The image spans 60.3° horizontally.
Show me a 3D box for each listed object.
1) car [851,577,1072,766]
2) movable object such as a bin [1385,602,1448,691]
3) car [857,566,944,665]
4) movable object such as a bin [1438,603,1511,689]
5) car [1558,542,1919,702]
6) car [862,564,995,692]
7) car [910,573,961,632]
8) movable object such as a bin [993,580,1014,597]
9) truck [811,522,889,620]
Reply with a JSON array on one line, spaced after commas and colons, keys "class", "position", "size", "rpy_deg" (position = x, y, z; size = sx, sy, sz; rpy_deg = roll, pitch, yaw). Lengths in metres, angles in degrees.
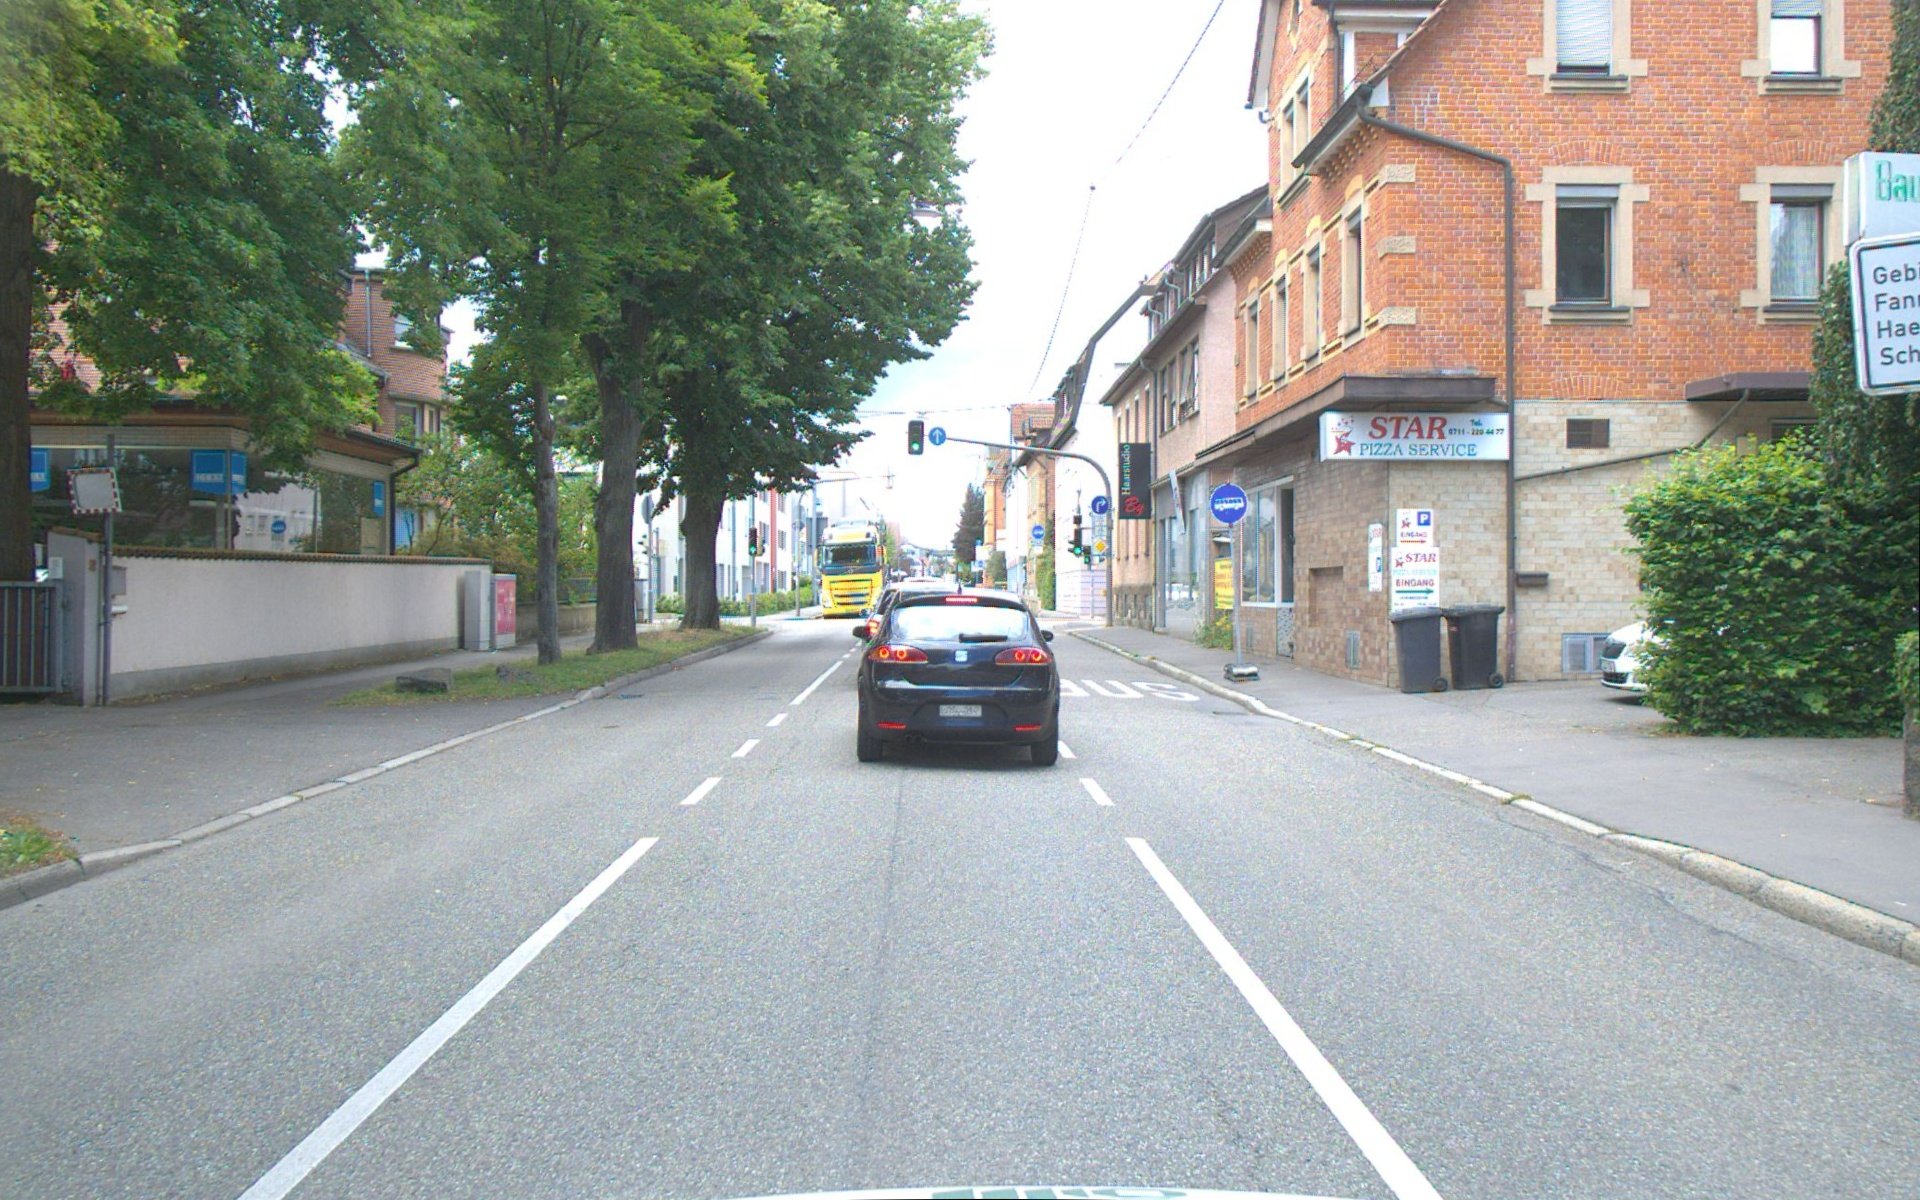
[{"class": "car", "position": [-0.027, 0.563, 15.068], "size": [1.723, 1.467, 3.999], "rpy_deg": [1, 0, -1]}, {"class": "movable object such as a bin", "position": [5.894, 0.592, 21.383], "size": [0.594, 1.120, 0.622], "rpy_deg": [-2, 0, -1]}, {"class": "car", "position": [-1.095, 0.273, 31.029], "size": [1.500, 1.722, 3.692], "rpy_deg": [1, 0, -1]}, {"class": "movable object such as a bin", "position": [6.651, 0.586, 21.418], "size": [0.684, 1.077, 0.723], "rpy_deg": [-2, 0, -1]}, {"class": "car", "position": [9.165, 0.221, 18.972], "size": [3.949, 1.495, 1.600], "rpy_deg": [-4, 0, -3]}, {"class": "car", "position": [-0.478, 0.380, 24.760], "size": [1.805, 1.722, 3.999], "rpy_deg": [1, 0, -2]}, {"class": "car", "position": [-0.771, 0.060, 50.844], "size": [1.500, 1.722, 3.692], "rpy_deg": [1, 0, -1]}, {"class": "movable object such as a bin", "position": [3.917, -1.060, 149.836], "size": [1.781, 1.462, 1.992], "rpy_deg": [1, 0, 0]}, {"class": "truck", "position": [-4.514, -1.160, 69.295], "size": [2.786, 3.848, 7.668], "rpy_deg": [1, 0, -1]}]
